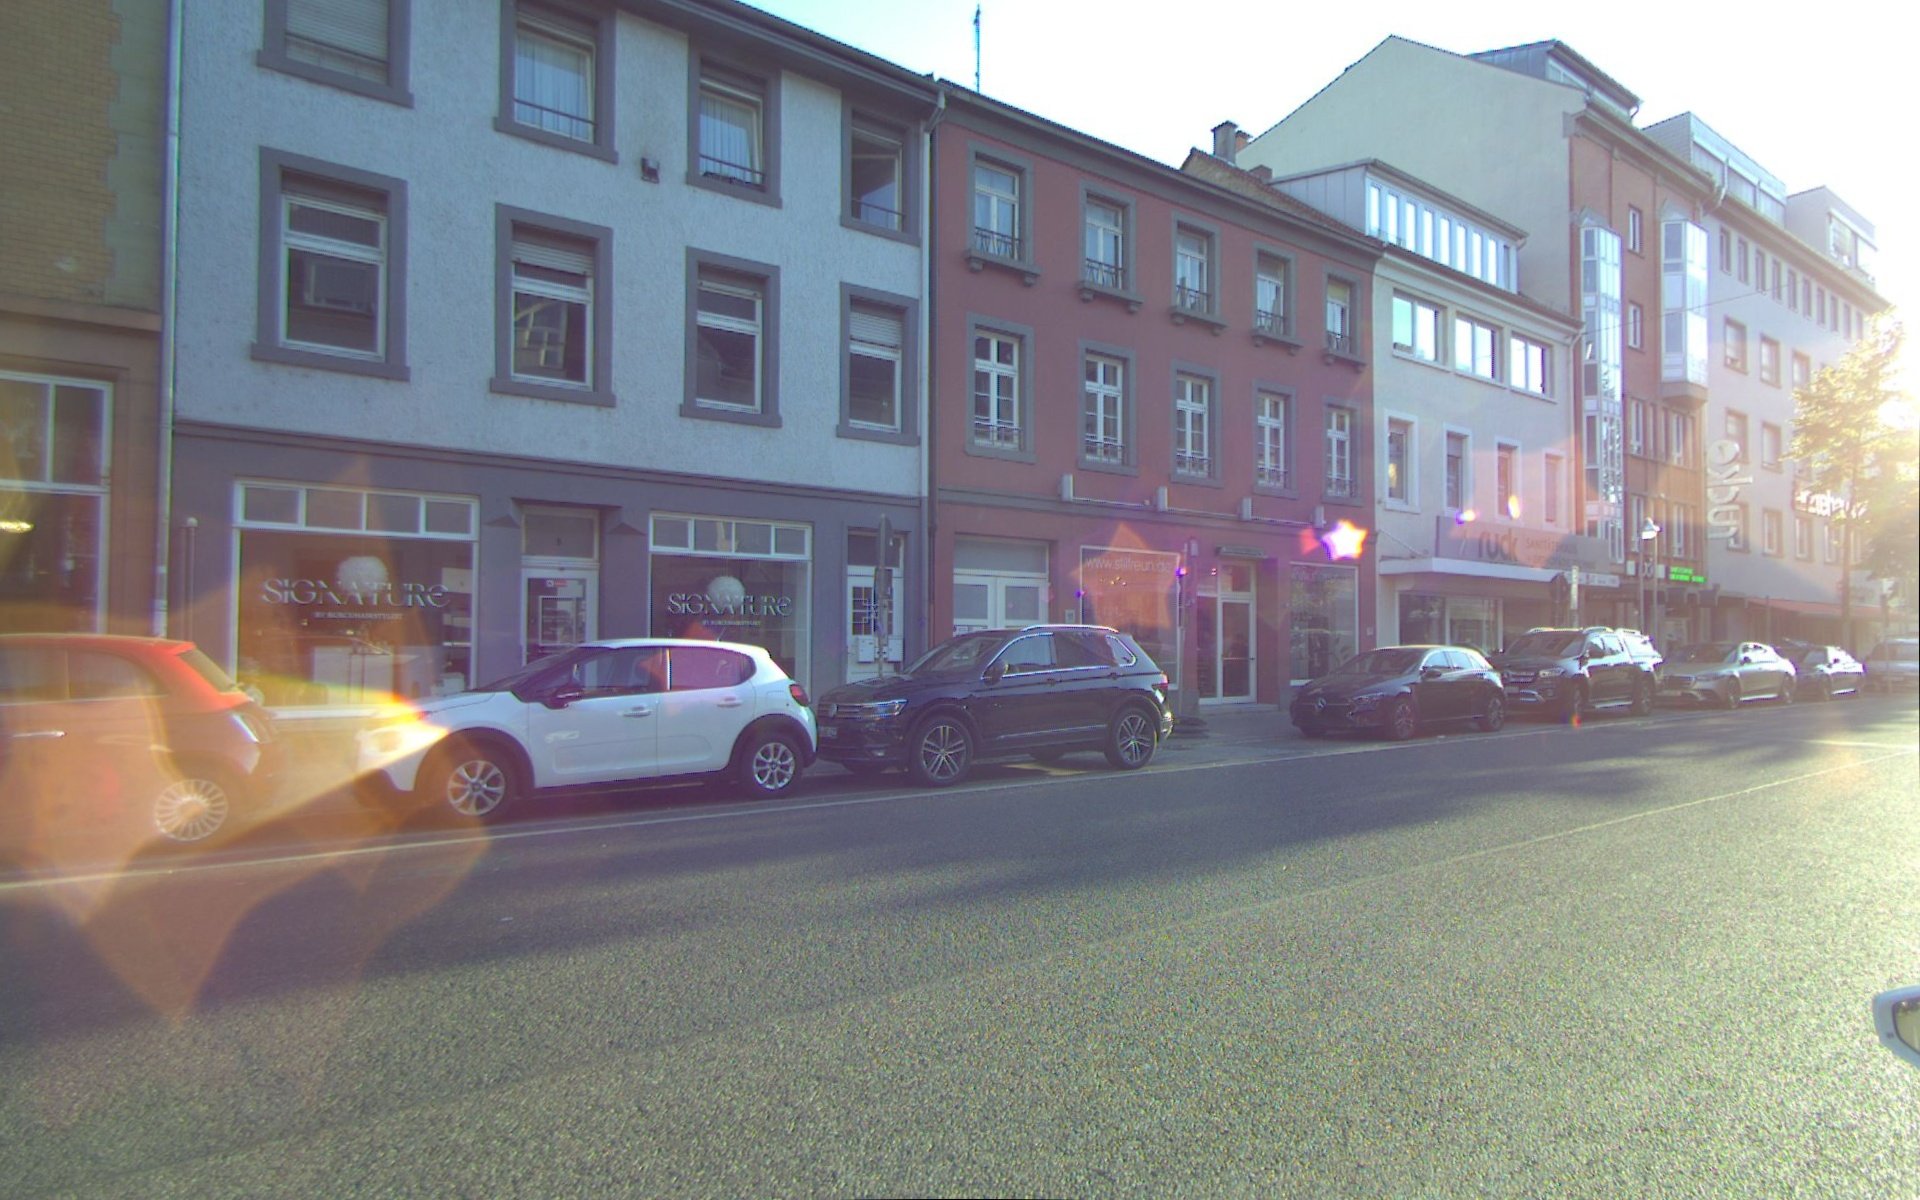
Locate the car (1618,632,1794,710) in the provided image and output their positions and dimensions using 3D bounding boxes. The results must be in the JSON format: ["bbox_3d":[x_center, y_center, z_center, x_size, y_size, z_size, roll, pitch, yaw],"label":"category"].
[{"bbox_3d":[17.758,1.639,23.851,4.581,1.676,1.981,2,-3,-35],"label":"car"}]

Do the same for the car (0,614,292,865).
[{"bbox_3d":[-6.651,0.916,6.899,3.386,1.590,1.517,2,-4,-34],"label":"car"}]

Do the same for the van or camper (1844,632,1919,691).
[{"bbox_3d":[30.624,1.956,32.623,4.510,1.797,1.777,1,-2,-34],"label":"van or camper"}]

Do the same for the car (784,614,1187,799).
[{"bbox_3d":[0.396,1.105,11.443,4.417,1.720,1.782,2,-4,-36],"label":"car"}]

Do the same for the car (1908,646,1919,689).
[{"bbox_3d":[35.377,2.389,35.674,3.747,1.522,1.680,1,-2,-34],"label":"car"}]

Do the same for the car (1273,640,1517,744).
[{"bbox_3d":[7.253,1.445,16.587,4.368,1.507,1.674,2,-5,-36],"label":"car"}]

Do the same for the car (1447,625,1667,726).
[{"bbox_3d":[12.126,1.449,20.249,5.270,1.800,1.979,2,-3,-37],"label":"car"}]

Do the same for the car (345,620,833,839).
[{"bbox_3d":[-3.271,1.036,9.151,3.895,1.593,1.652,2,-4,-35],"label":"car"}]

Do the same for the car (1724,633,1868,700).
[{"bbox_3d":[22.639,1.731,27.162,4.437,1.677,1.980,2,-2,-36],"label":"car"}]
